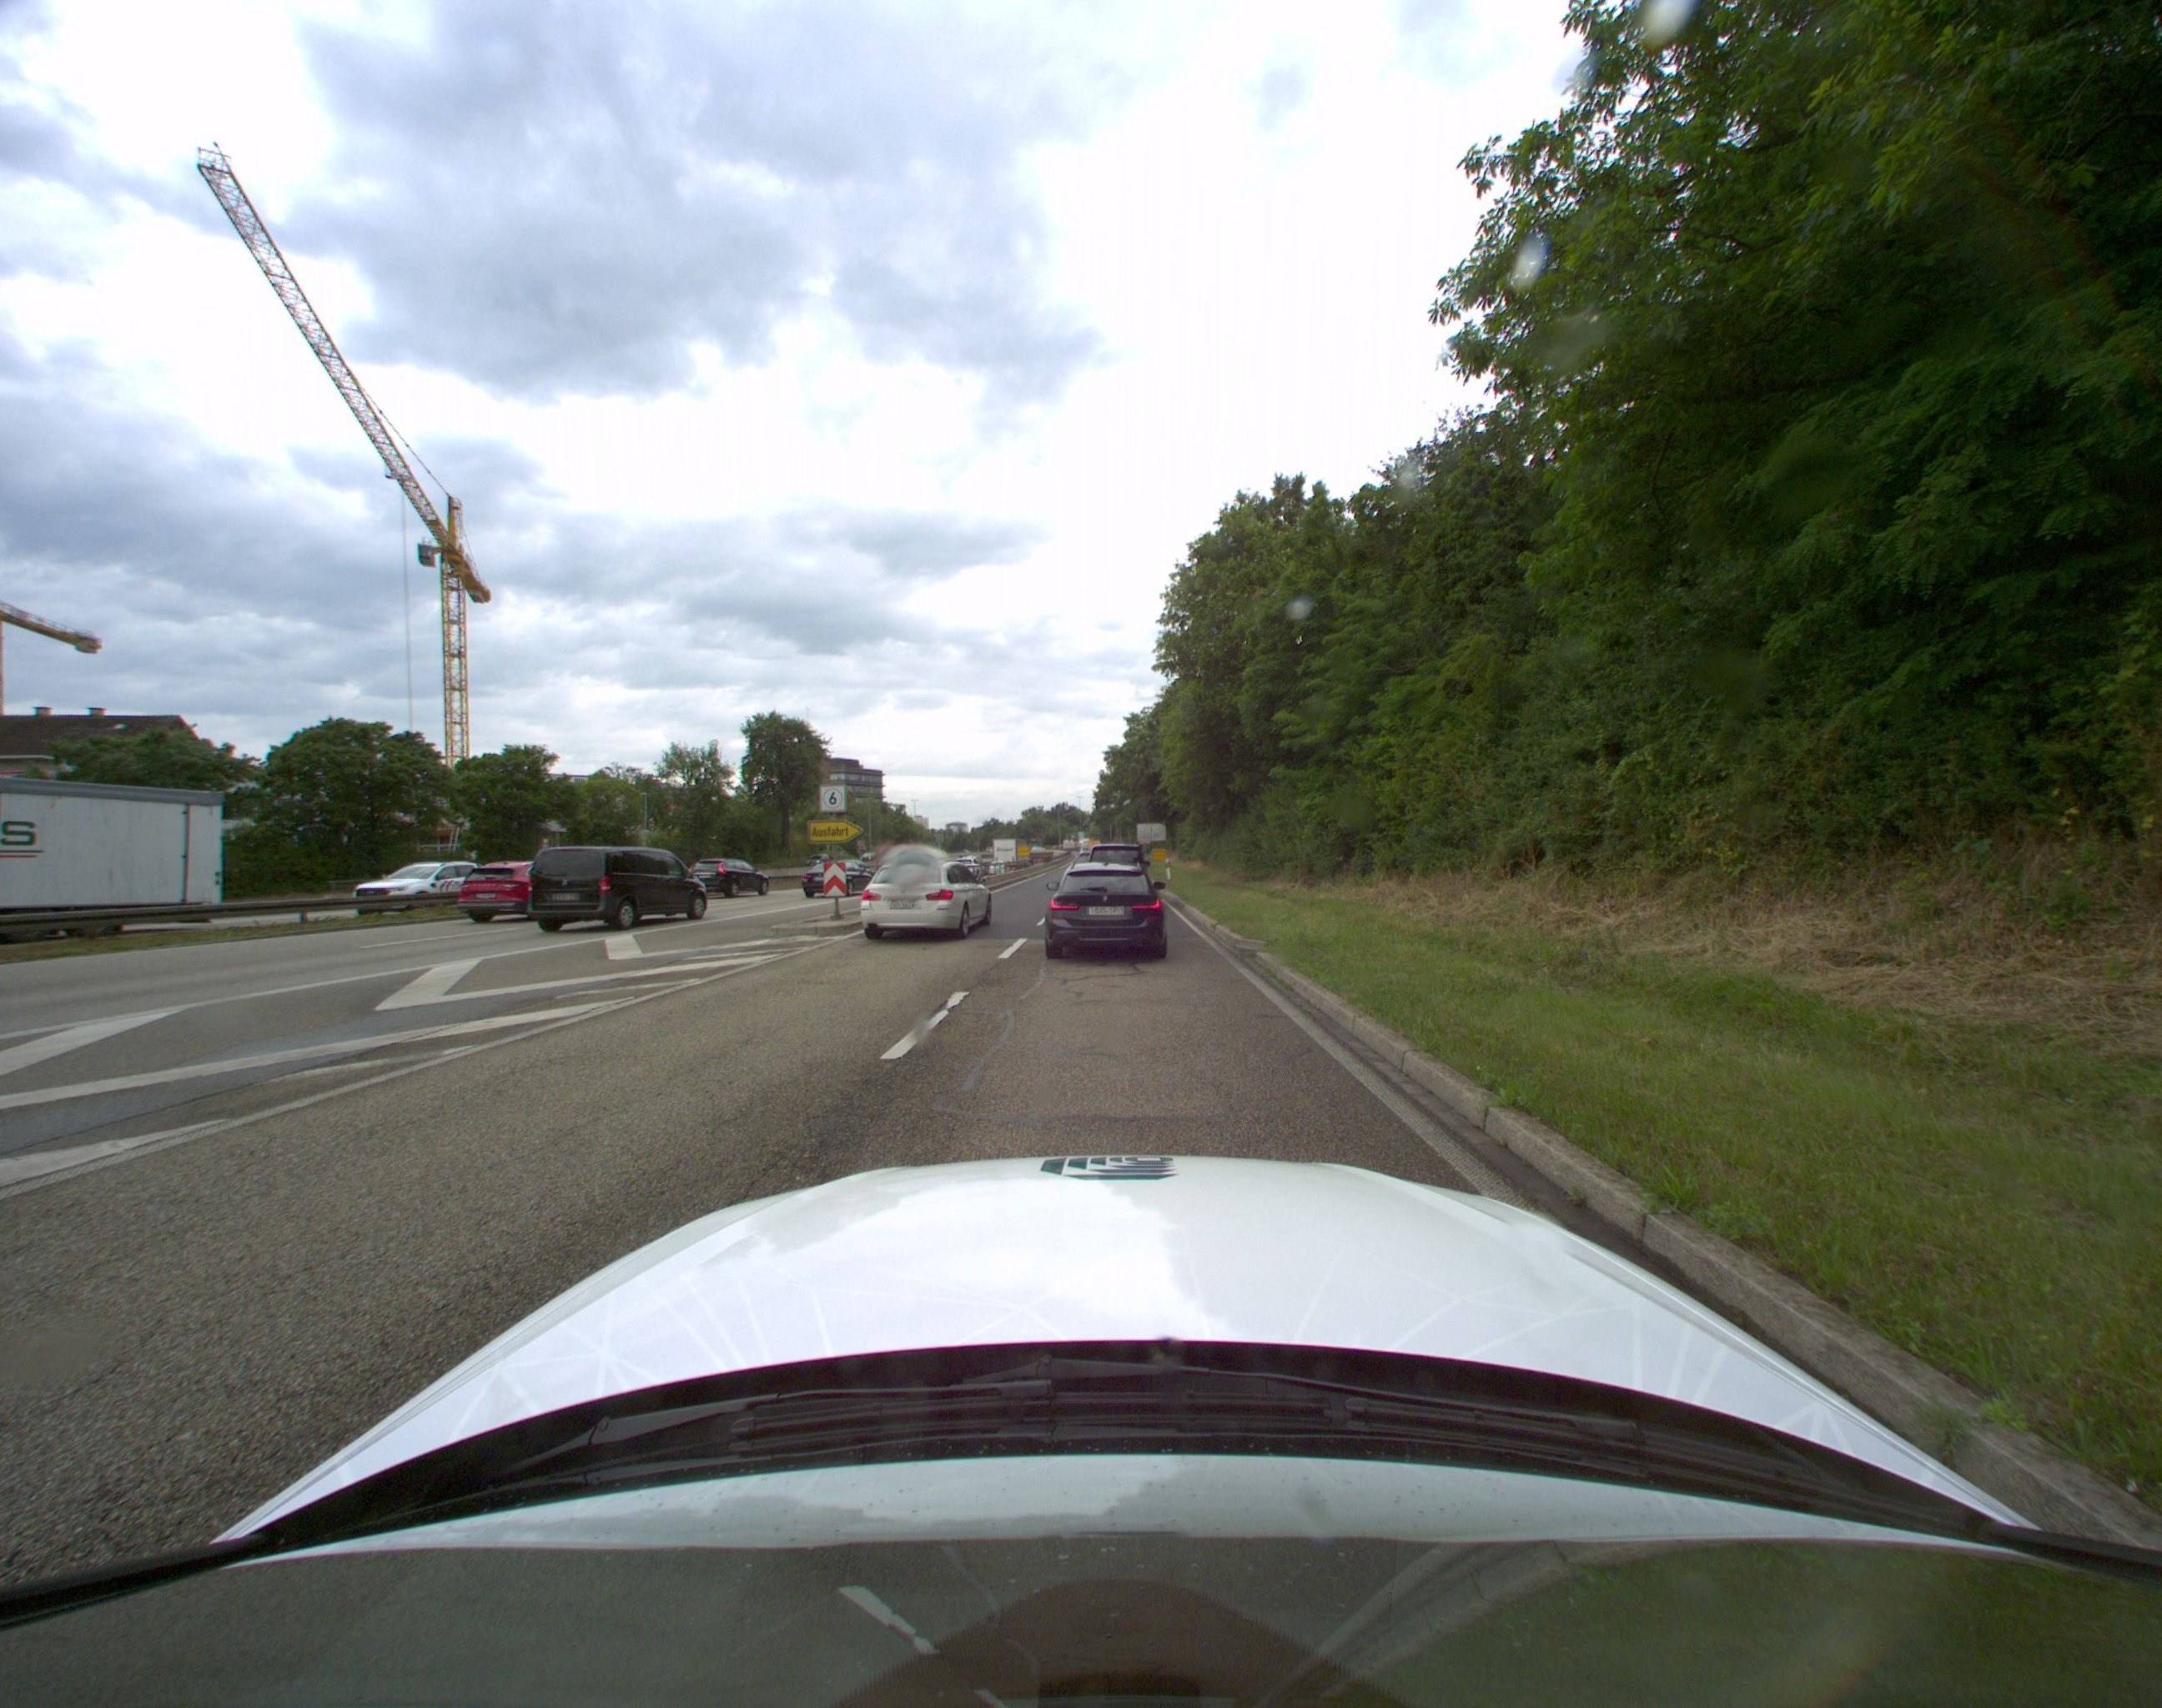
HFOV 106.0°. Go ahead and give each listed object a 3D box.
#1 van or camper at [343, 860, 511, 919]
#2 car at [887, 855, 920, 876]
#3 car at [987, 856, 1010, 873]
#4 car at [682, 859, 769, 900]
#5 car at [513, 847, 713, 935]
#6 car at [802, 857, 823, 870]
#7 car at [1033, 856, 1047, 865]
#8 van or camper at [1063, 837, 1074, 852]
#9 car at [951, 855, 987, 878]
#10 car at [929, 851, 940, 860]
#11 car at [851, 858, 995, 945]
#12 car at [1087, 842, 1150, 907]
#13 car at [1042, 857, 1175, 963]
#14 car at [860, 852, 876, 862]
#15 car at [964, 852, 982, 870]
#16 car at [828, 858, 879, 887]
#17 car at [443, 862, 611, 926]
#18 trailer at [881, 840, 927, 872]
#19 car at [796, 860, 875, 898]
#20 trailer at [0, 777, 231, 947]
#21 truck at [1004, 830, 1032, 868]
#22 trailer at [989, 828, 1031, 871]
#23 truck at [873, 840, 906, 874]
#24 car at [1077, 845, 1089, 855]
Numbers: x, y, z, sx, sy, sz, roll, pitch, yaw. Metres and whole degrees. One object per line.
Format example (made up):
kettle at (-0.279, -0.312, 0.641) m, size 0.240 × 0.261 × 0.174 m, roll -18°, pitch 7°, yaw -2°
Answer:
van or camper at (-22.320, 1.135, 28.097) m, size 1.693 × 1.794 × 4.907 m, roll -1°, pitch 0°, yaw 1°
car at (-14.203, 0.912, 65.275) m, size 1.681 × 1.608 × 4.008 m, roll 0°, pitch 0°, yaw 1°
car at (-8.078, 1.004, 80.067) m, size 1.762 × 1.549 × 3.493 m, roll -1°, pitch 0°, yaw 1°
car at (-15.357, 1.055, 35.403) m, size 1.745 × 1.635 × 4.269 m, roll -1°, pitch 0°, yaw 2°
car at (-11.038, 0.792, 19.714) m, size 1.987 × 1.851 × 4.812 m, roll -1°, pitch 0°, yaw 1°
car at (-33.721, 1.144, 102.286) m, size 1.432 × 1.574 × 3.245 m, roll -1°, pitch 0°, yaw 2°
car at (-9.980, 1.575, 197.069) m, size 3.198 × 2.028 × 5.066 m, roll -1°, pitch 0°, yaw -5°
van or camper at (-2.520, -1.878, 163.614) m, size 1.986 × 2.821 × 4.001 m, roll -1°, pitch 0°, yaw 2°
car at (-8.716, 0.925, 63.702) m, size 1.938 × 1.692 × 4.510 m, roll -1°, pitch 0°, yaw 3°
car at (-33.618, 0.344, 187.070) m, size 1.649 × 1.836 × 3.624 m, roll -1°, pitch 0°, yaw 2°
car at (-2.991, 0.836, 16.548) m, size 1.852 × 1.464 × 4.885 m, roll 0°, pitch 0°, yaw 1°
car at (1.169, 0.594, 25.402) m, size 1.789 × 1.872 × 4.002 m, roll -1°, pitch 0°, yaw 2°
car at (0.404, 0.783, 13.304) m, size 1.840 × 1.467 × 4.000 m, roll 0°, pitch 0°, yaw 0°
car at (-32.563, 0.434, 124.730) m, size 1.432 × 1.586 × 3.245 m, roll -1°, pitch 0°, yaw 2°
car at (-12.926, 0.853, 98.002) m, size 1.437 × 2.044 × 3.683 m, roll -1°, pitch 0°, yaw 3°
car at (-14.179, 1.113, 51.039) m, size 1.884 × 1.681 × 4.307 m, roll -1°, pitch 0°, yaw 1°
car at (-15.134, 1.032, 22.546) m, size 1.759 × 1.567 × 3.948 m, roll -1°, pitch 0°, yaw 3°
trailer at (-23.659, 0.257, 109.740) m, size 2.754 × 4.064 × 13.360 m, roll -1°, pitch 0°, yaw 2°
car at (-10.381, 1.007, 34.788) m, size 1.705 × 1.457 × 4.670 m, roll -1°, pitch 0°, yaw 3°
trailer at (-26.697, 0.214, 17.227) m, size 2.584 × 3.982 × 13.788 m, roll -1°, pitch 0°, yaw 2°
truck at (-7.905, -0.563, 103.163) m, size 3.072 × 4.698 × 4.234 m, roll 0°, pitch 0°, yaw 2°
trailer at (-8.163, -0.485, 95.863) m, size 3.120 × 4.725 × 14.564 m, roll 0°, pitch 0°, yaw 2°
truck at (-23.941, 0.336, 101.945) m, size 2.752 × 4.064 × 4.909 m, roll -1°, pitch 0°, yaw 2°
car at (0.378, -0.693, 141.193) m, size 1.922 × 1.596 × 3.880 m, roll -1°, pitch 0°, yaw 3°
